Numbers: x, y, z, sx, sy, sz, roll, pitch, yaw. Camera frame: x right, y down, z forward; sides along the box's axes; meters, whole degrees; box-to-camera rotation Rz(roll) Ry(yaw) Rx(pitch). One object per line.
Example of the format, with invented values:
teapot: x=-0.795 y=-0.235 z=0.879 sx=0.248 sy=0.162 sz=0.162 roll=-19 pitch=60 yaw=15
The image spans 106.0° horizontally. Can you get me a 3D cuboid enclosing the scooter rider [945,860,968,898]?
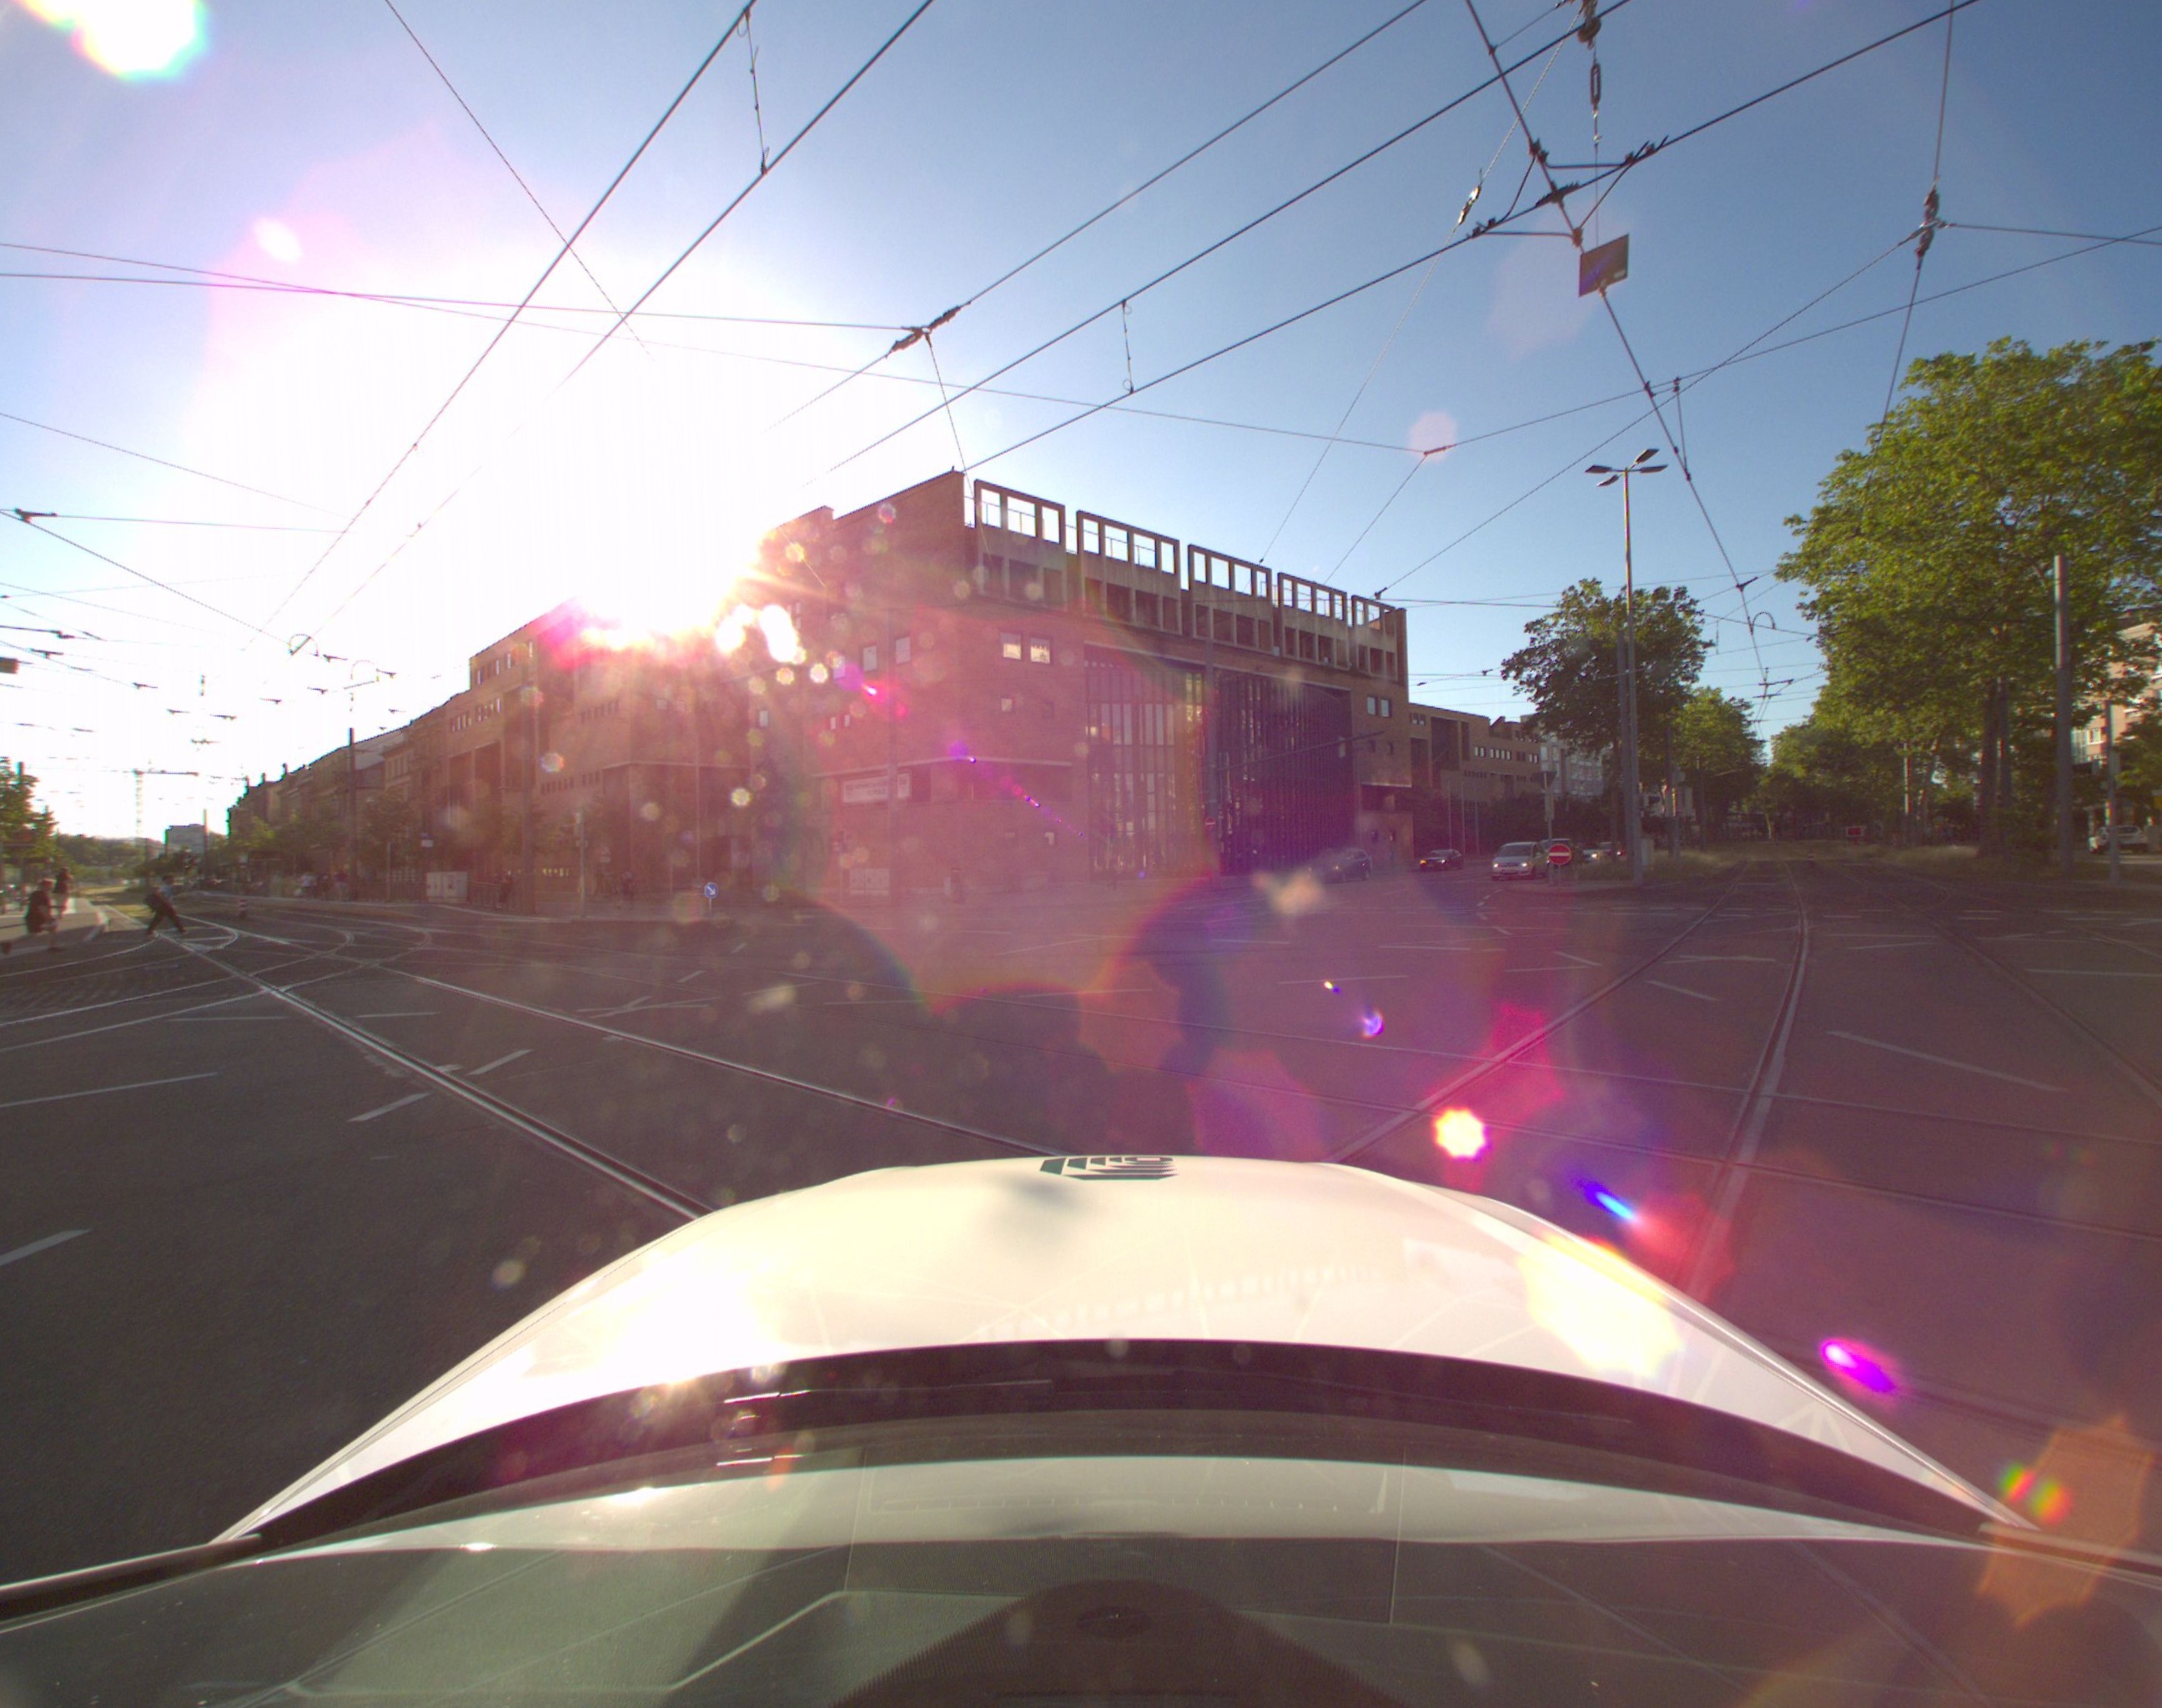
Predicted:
scooter rider: x=-4.956 y=1.002 z=32.373 sx=0.713 sy=1.461 sz=0.511 roll=-2 pitch=-1 yaw=31

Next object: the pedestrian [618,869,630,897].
pedestrian: x=-29.192 y=1.837 z=52.023 sx=0.541 sy=1.756 sz=0.687 roll=-1 pitch=-1 yaw=-41

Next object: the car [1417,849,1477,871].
car: x=24.438 y=0.413 z=54.328 sx=4.018 sy=1.376 sz=1.901 roll=-1 pitch=-1 yaw=-37

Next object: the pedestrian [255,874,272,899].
pedestrian: x=-55.969 y=2.218 z=55.774 sx=0.643 sy=1.732 sz=0.726 roll=-2 pitch=-1 yaw=38

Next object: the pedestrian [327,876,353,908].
pedestrian: x=-39.828 y=2.037 z=43.758 sx=0.663 sy=1.672 sz=0.896 roll=-2 pitch=-1 yaw=37

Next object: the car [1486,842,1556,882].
car: x=19.335 y=0.324 z=35.681 sx=1.713 sy=1.597 sz=4.352 roll=-2 pitch=-1 yaw=41

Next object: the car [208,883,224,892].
car: x=-157.109 y=6.144 z=147.892 sx=4.103 sy=1.457 sz=1.867 roll=-1 pitch=0 yaw=40

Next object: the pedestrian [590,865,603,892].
pedestrian: x=-31.231 y=1.566 z=52.480 sx=0.459 sy=1.756 sz=0.541 roll=-2 pitch=-1 yaw=38

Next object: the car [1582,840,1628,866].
car: x=34.260 y=-0.081 z=53.199 sx=1.836 sy=1.552 sz=4.352 roll=-2 pitch=-1 yaw=41

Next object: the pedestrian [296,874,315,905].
pedestrian: x=-43.066 y=1.974 z=45.228 sx=0.663 sy=1.672 sz=0.663 roll=-2 pitch=-1 yaw=37

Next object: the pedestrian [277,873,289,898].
pedestrian: x=-55.725 y=2.207 z=56.890 sx=0.643 sy=1.732 sz=0.509 roll=-2 pitch=-1 yaw=38

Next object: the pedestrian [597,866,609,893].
pedestrian: x=-31.380 y=1.671 z=53.421 sx=0.416 sy=1.756 sz=0.541 roll=-2 pitch=-1 yaw=41

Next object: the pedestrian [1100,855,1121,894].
pedestrian: x=1.329 y=0.933 z=36.726 sx=0.821 sy=1.716 sz=0.662 roll=-2 pitch=-1 yaw=-9

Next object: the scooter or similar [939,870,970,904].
scooter or similar: x=-5.032 y=1.299 z=32.417 sx=1.118 sy=1.318 sz=0.532 roll=-2 pitch=-1 yaw=30

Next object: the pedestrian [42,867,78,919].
pedestrian: x=-33.416 y=1.265 z=26.660 sx=0.569 sy=1.684 sz=0.683 roll=-2 pitch=-1 yaw=43

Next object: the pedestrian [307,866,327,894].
pedestrian: x=-40.659 y=1.394 z=43.354 sx=0.818 sy=1.483 sz=0.689 roll=-2 pitch=-1 yaw=41

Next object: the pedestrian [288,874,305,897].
pedestrian: x=-52.750 y=2.115 z=54.747 sx=0.894 sy=1.562 sz=0.679 roll=-2 pitch=-1 yaw=38

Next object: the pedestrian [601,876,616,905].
pedestrian: x=-29.694 y=2.300 z=51.168 sx=0.737 sy=1.756 sz=0.688 roll=-1 pitch=-1 yaw=-32

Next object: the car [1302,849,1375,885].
car: x=13.166 y=0.628 z=41.561 sx=1.816 sy=1.654 sz=4.528 roll=-3 pitch=-1 yaw=41

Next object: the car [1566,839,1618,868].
car: x=29.758 y=-0.043 z=47.378 sx=1.836 sy=1.552 sz=4.352 roll=-2 pitch=-1 yaw=41

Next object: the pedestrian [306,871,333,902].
pedestrian: x=-42.033 y=1.775 z=44.933 sx=1.081 sy=1.672 sz=0.896 roll=-2 pitch=-1 yaw=37

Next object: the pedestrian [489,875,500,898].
pedestrian: x=-46.393 y=2.565 z=64.461 sx=0.416 sy=1.756 sz=0.541 roll=-2 pitch=-1 yaw=25

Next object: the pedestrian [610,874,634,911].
pedestrian: x=-19.745 y=1.645 z=35.028 sx=0.719 sy=1.539 sz=0.841 roll=-1 pitch=-1 yaw=-43

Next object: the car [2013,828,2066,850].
car: x=75.194 y=-1.179 z=63.948 sx=2.241 sy=1.552 sz=4.351 roll=-2 pitch=-1 yaw=45

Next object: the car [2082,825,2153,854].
car: x=60.577 y=-0.840 z=47.659 sx=1.836 sy=1.552 sz=4.352 roll=-2 pitch=-1 yaw=42

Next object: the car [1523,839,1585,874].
car: x=24.096 y=0.112 z=41.429 sx=1.836 sy=1.650 sz=4.352 roll=-2 pitch=-1 yaw=41

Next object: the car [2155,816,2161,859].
car: x=50.253 y=-0.788 z=36.250 sx=1.974 sy=2.014 sz=4.412 roll=-2 pitch=-1 yaw=40

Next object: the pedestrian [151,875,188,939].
pedestrian: x=-25.069 y=1.439 z=22.401 sx=0.768 sy=1.717 sz=0.645 roll=-2 pitch=-1 yaw=43

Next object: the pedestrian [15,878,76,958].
pedestrian: x=-23.103 y=1.414 z=18.169 sx=0.741 sy=1.702 sz=0.627 roll=-2 pitch=-1 yaw=20

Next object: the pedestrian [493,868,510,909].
pedestrian: x=-22.218 y=1.301 z=31.240 sx=0.493 sy=1.539 sz=0.545 roll=-1 pitch=-1 yaw=-37

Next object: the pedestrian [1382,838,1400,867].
pedestrian: x=22.046 y=-0.105 z=57.859 sx=0.761 sy=2.014 sz=0.890 roll=-1 pitch=-1 yaw=-33
